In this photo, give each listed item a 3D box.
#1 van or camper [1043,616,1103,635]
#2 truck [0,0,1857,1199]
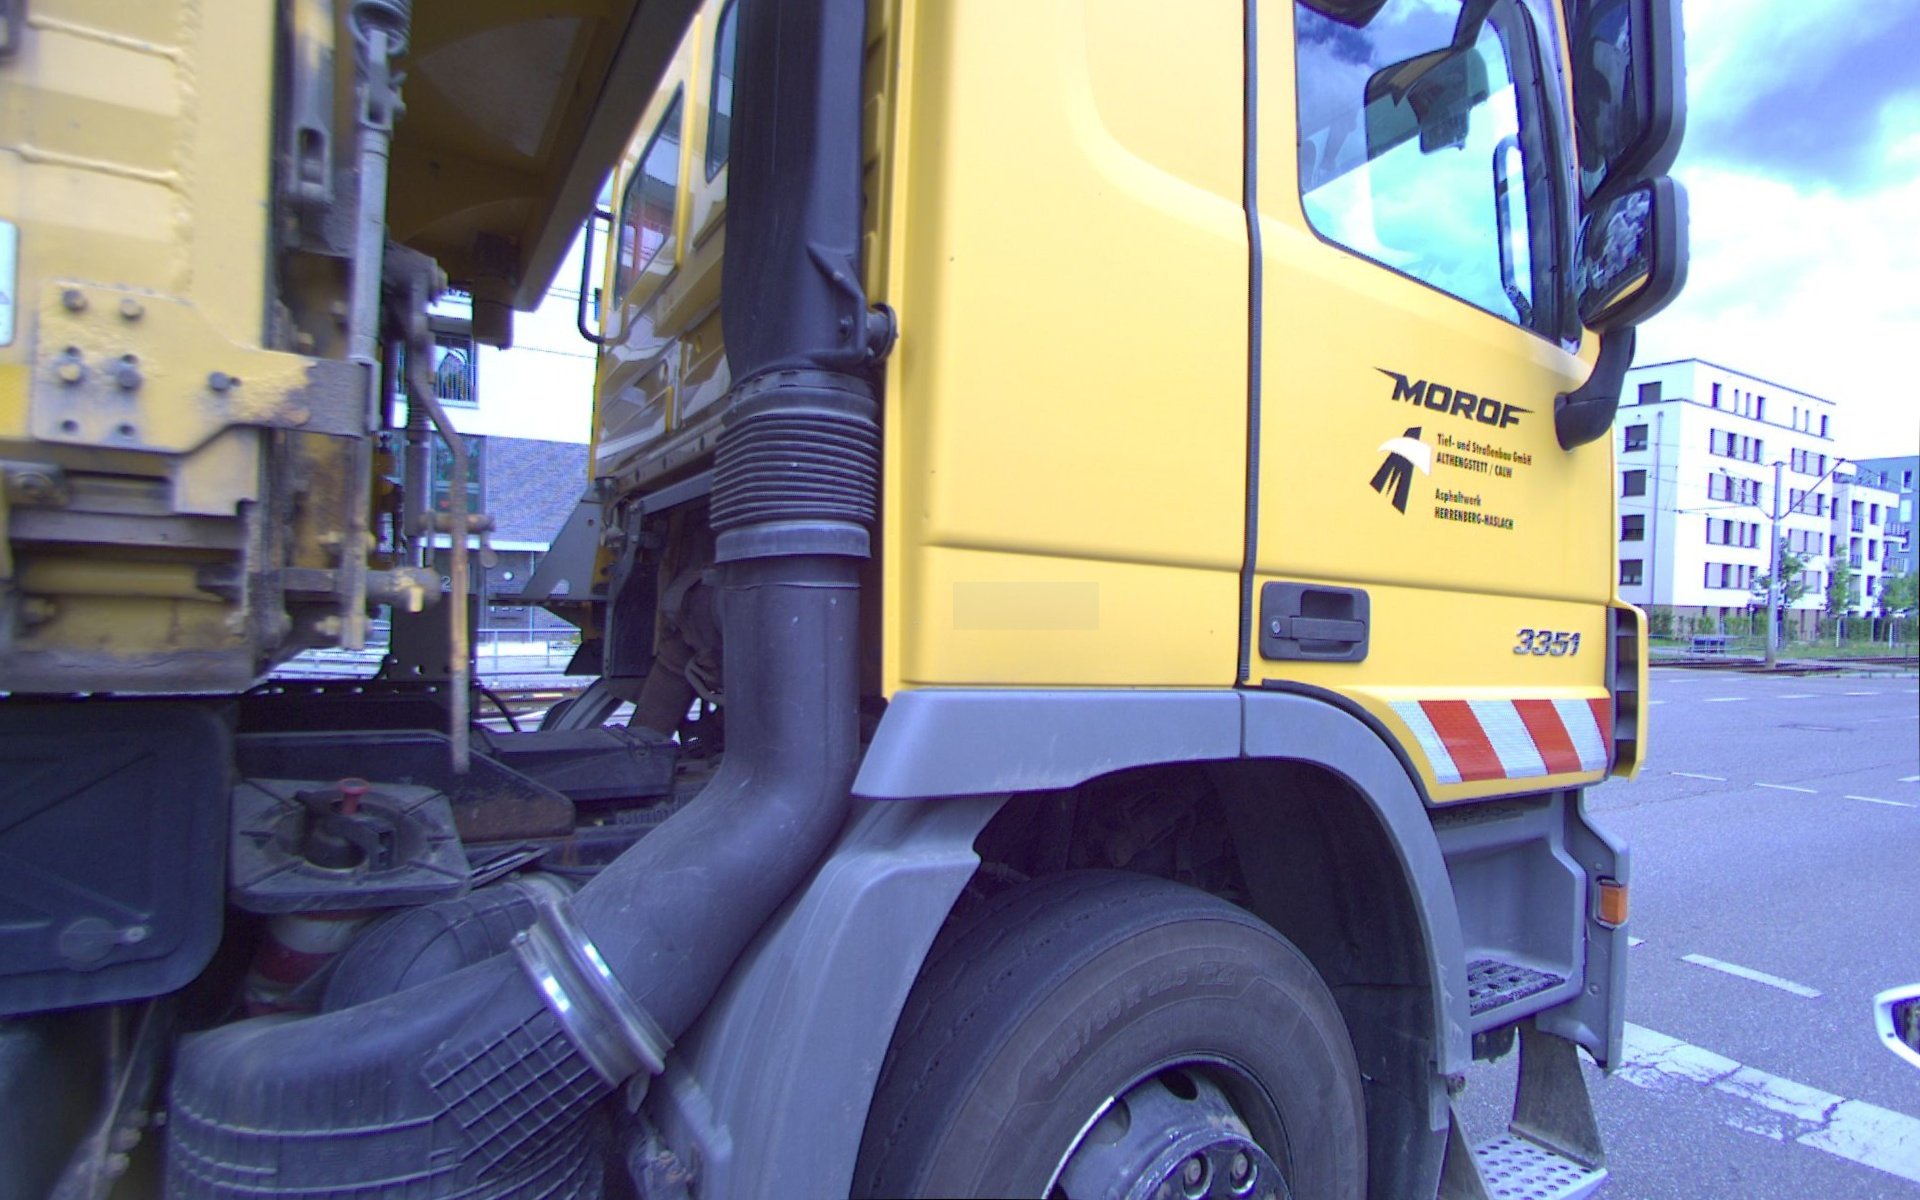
[{"bbox_3d":[9.682,2.145,85.845,4.947,1.553,1.850,1,0,-30],"label":"van or camper"},{"bbox_3d":[-2.207,-0.107,1.255,7.688,3.043,2.707,2,0,-30],"label":"truck"}]
